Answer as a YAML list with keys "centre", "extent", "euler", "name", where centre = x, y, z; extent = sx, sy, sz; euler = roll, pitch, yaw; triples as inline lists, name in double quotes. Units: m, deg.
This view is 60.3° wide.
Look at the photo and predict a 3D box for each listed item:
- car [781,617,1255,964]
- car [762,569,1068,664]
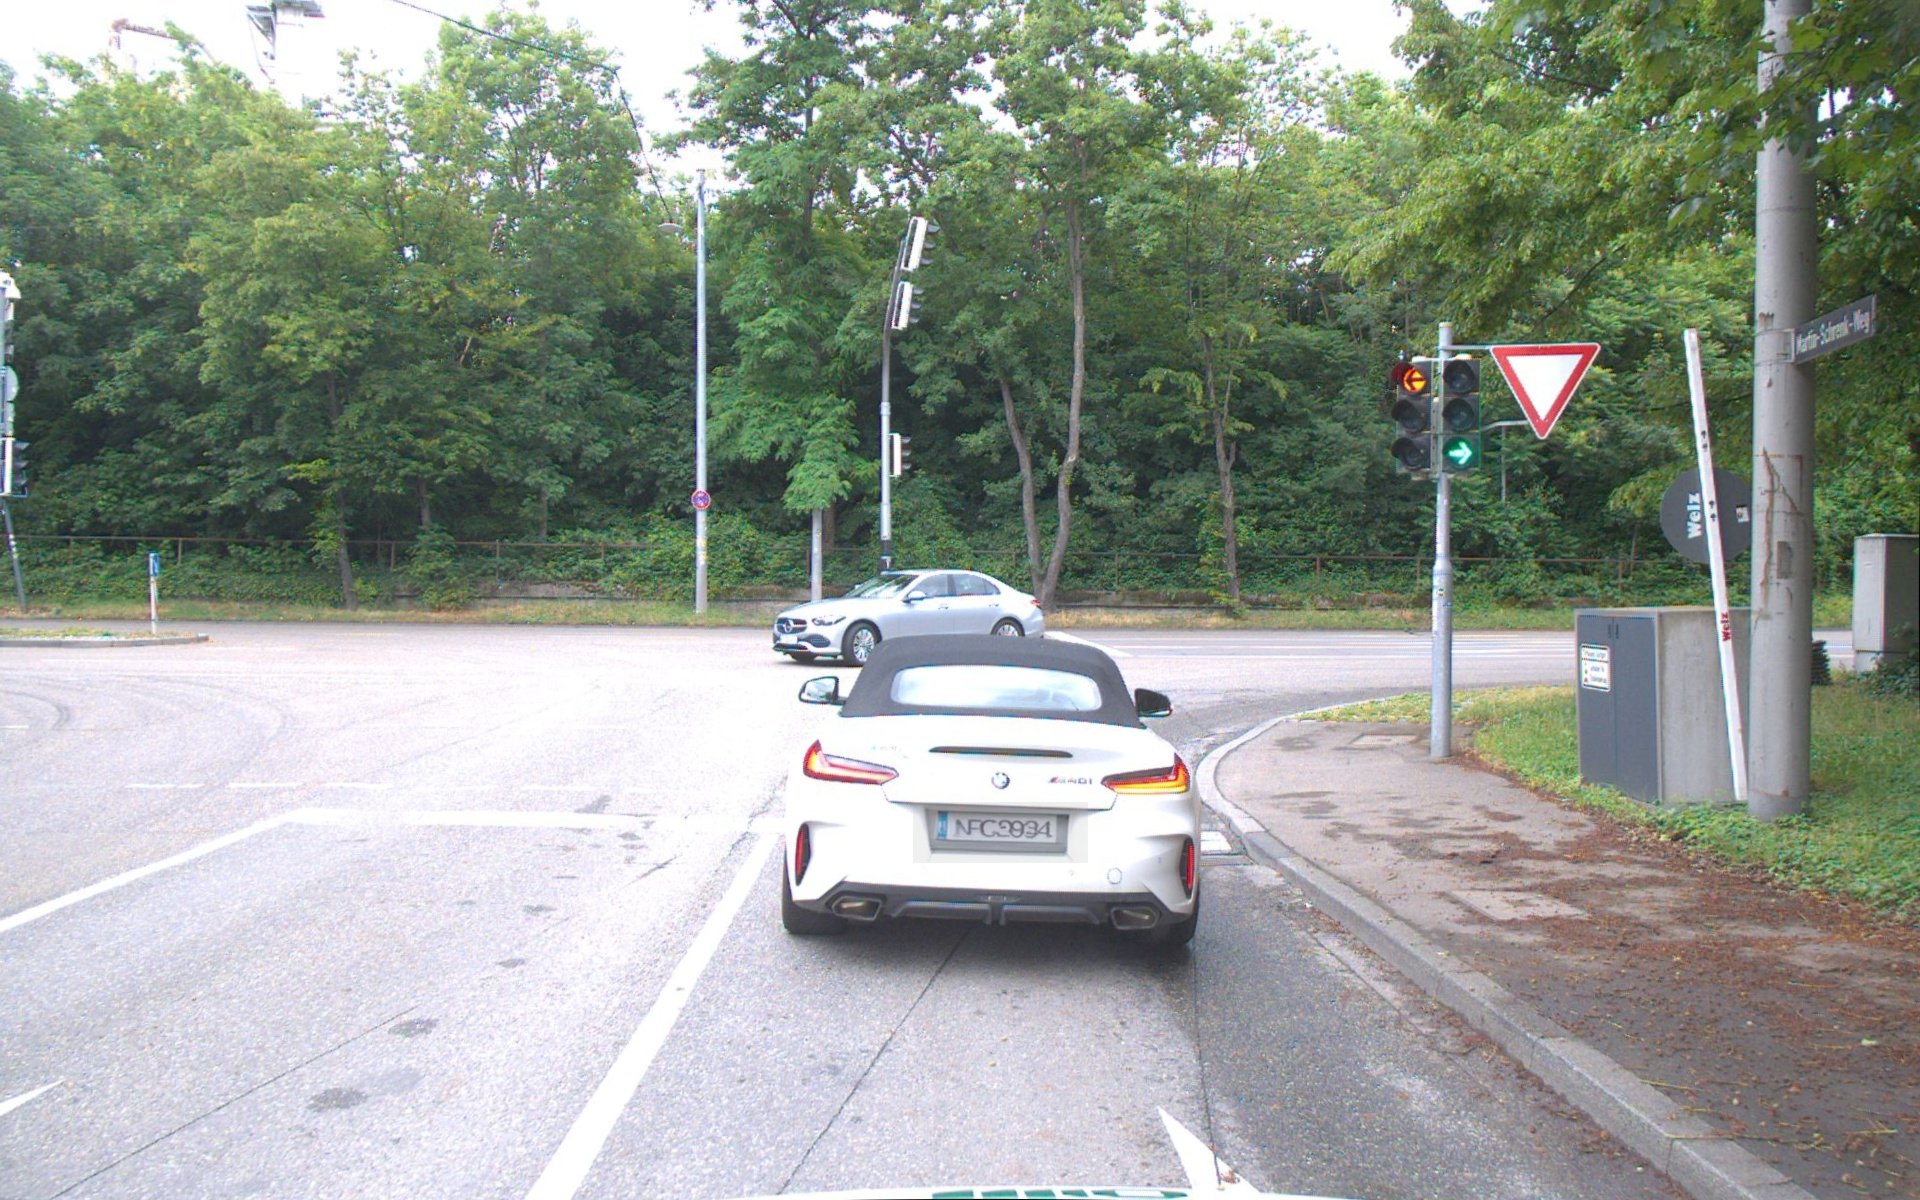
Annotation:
- centre: [0.213, 0.792, 8.354]
  extent: [1.790, 1.279, 3.999]
  euler: [2, -2, 0]
  name: "car"
- centre: [-0.670, 0.204, 26.459]
  extent: [4.712, 1.357, 1.811]
  euler: [-1, 2, -35]
  name: "car"
